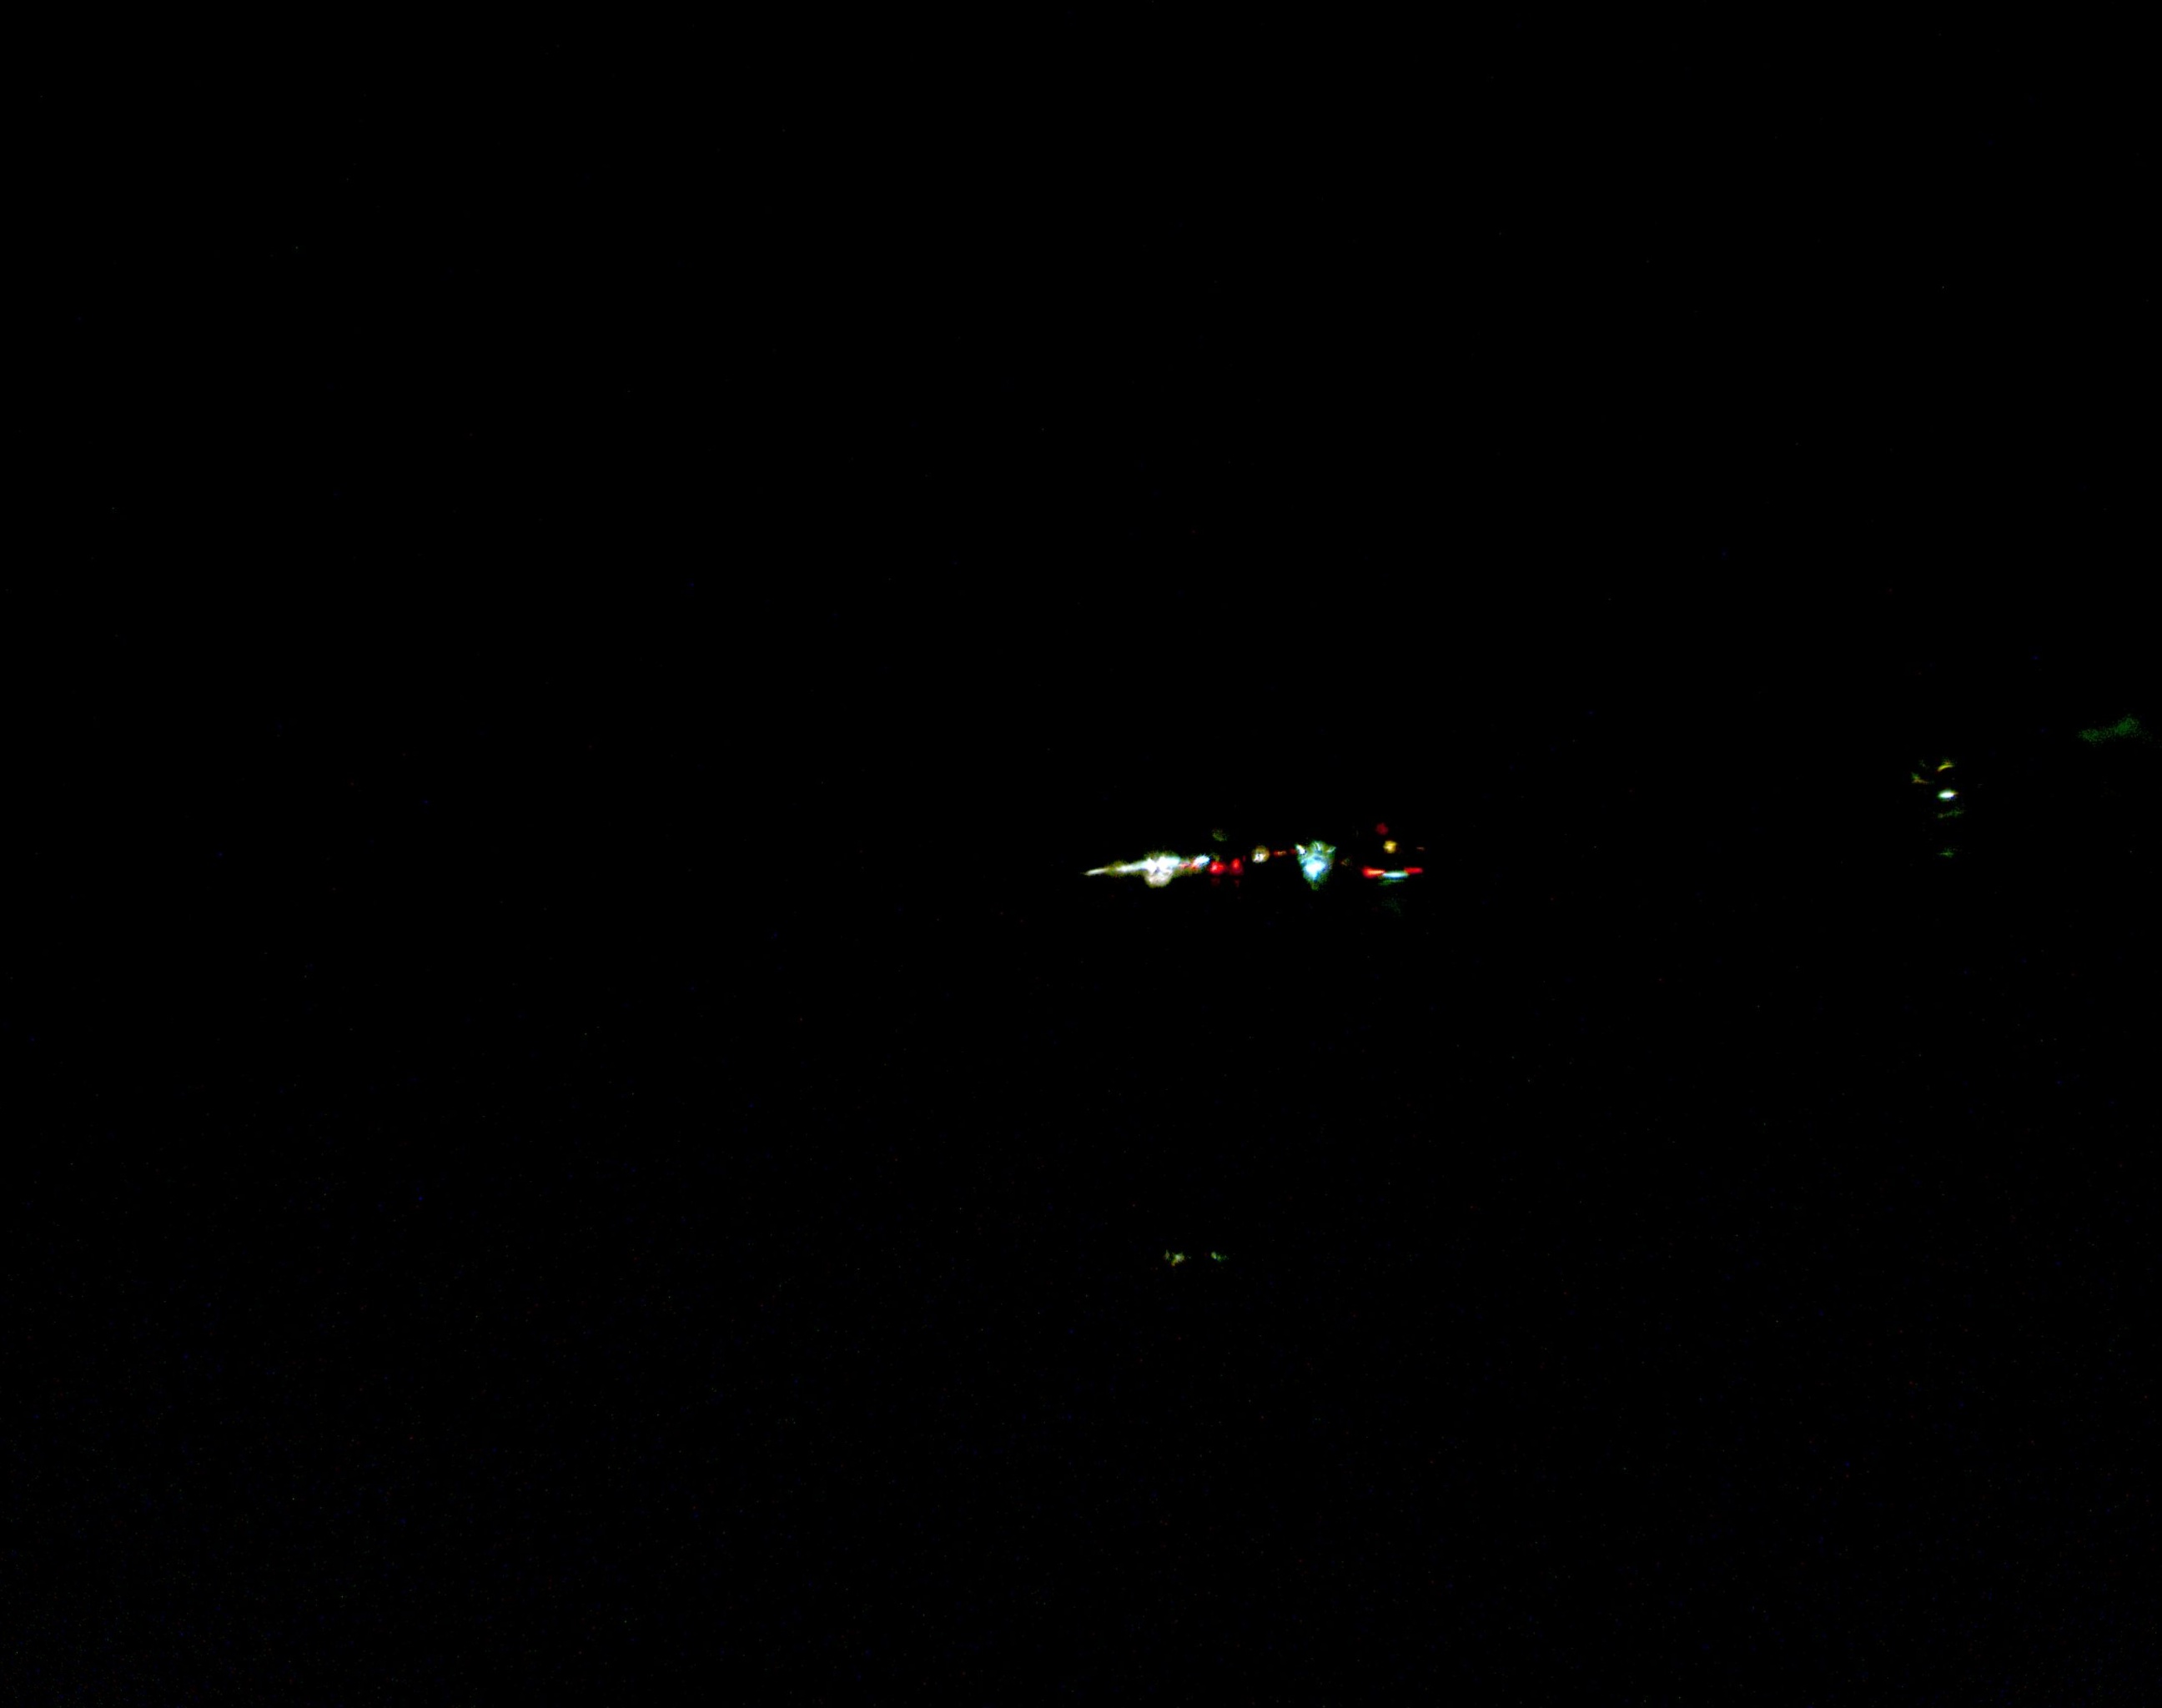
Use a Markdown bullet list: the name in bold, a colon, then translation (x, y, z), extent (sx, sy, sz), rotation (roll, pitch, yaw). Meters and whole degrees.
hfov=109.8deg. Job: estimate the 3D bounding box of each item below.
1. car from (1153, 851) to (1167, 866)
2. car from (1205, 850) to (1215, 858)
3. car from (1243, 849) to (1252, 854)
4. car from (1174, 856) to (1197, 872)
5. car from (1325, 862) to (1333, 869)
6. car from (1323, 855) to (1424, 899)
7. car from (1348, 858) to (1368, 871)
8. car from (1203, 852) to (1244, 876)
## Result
- **car**: translation (11.627, 0.622, 111.844), extent (1.997, 2.002, 4.002), rotation (-3, 0, 7)
- **car**: translation (31.954, -0.009, 188.642), extent (1.996, 2.002, 4.004), rotation (-3, 0, 15)
- **car**: translation (49.863, -0.747, 227.501), extent (1.996, 1.604, 4.618), rotation (-2, 0, 19)
- **car**: translation (11.377, 1.058, 82.894), extent (1.886, 1.591, 3.899), rotation (-3, 0, -1)
- **car**: translation (65.582, 2.983, 200.773), extent (1.810, 1.561, 4.298), rotation (-3, 0, 20)
- **car**: translation (10.821, 0.805, 28.481), extent (1.837, 1.433, 4.489), rotation (-3, 0, -2)
- **car**: translation (43.873, 1.629, 120.543), extent (1.997, 2.002, 4.002), rotation (-3, 0, 7)
- **car**: translation (11.084, 0.753, 59.327), extent (2.204, 1.735, 4.524), rotation (-3, 0, -2)
